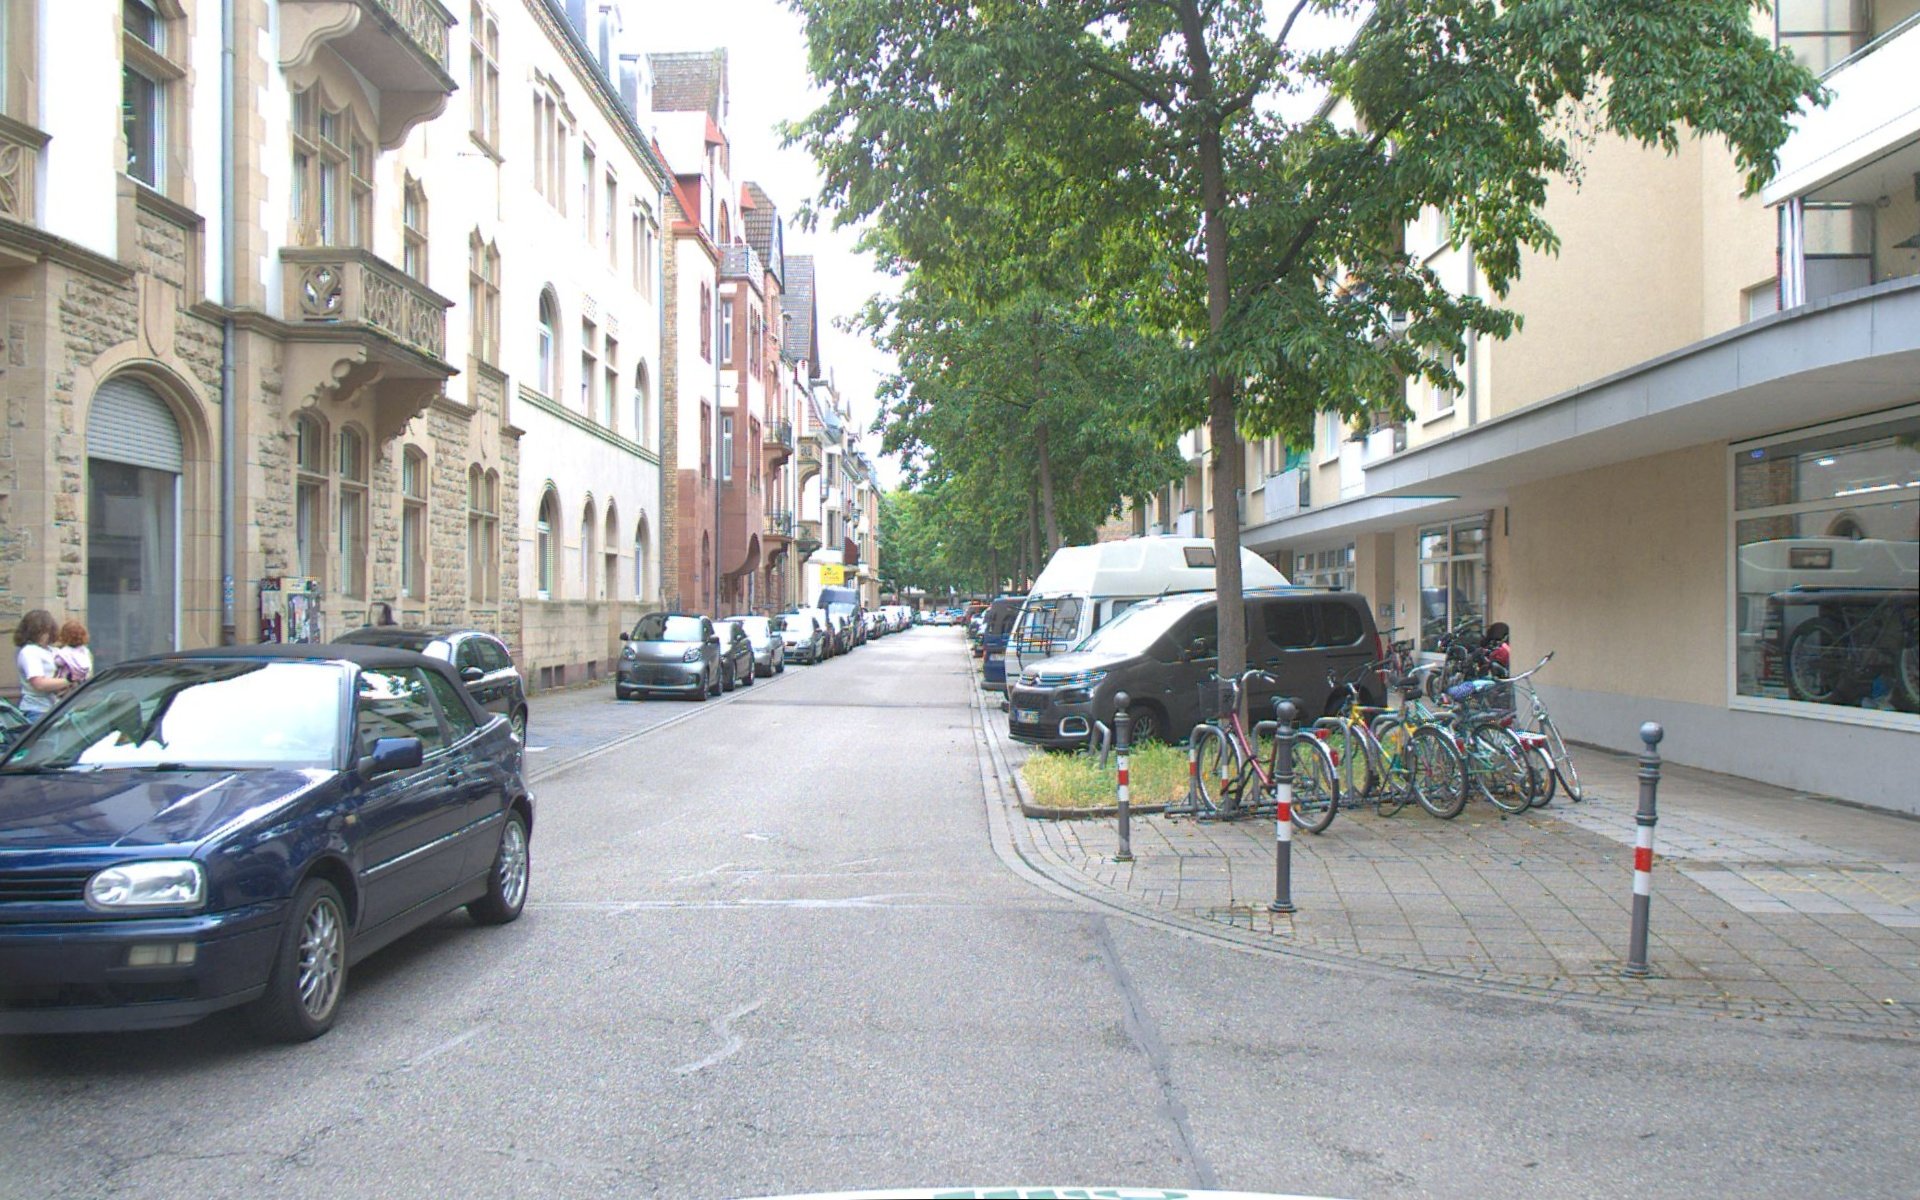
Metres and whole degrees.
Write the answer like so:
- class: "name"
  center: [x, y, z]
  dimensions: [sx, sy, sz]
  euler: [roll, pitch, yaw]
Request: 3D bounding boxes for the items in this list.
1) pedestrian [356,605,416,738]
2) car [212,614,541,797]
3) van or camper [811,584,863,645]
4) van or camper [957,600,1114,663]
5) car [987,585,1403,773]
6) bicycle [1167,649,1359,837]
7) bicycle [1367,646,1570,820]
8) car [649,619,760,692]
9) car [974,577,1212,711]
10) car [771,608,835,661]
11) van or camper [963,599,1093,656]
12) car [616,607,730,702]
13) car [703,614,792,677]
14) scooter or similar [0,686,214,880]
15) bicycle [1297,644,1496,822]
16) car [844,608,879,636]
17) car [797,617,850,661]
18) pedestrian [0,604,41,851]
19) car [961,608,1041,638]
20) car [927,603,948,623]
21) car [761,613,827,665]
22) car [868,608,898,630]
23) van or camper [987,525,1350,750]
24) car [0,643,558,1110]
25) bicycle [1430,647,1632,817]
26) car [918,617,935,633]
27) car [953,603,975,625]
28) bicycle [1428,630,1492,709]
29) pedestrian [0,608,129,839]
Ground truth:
- class: "pedestrian"
  center: [-6.765, 0.836, 19.510]
  dimensions: [0.505, 1.545, 0.546]
  euler: [0, 0, 0]
- class: "car"
  center: [-5.487, 0.945, 16.123]
  dimensions: [1.674, 1.521, 4.000]
  euler: [1, -1, 1]
- class: "van or camper"
  center: [-5.661, 0.640, 76.781]
  dimensions: [1.967, 2.698, 5.316]
  euler: [0, 0, 0]
- class: "van or camper"
  center: [2.593, 1.054, 56.437]
  dimensions: [4.949, 1.902, 2.107]
  euler: [-2, 0, -28]
- class: "car"
  center: [2.627, 0.796, 18.446]
  dimensions: [4.277, 1.886, 1.896]
  euler: [0, 0, -26]
- class: "bicycle"
  center: [2.143, 0.979, 11.918]
  dimensions: [0.540, 1.194, 1.717]
  euler: [0, 0, -21]
- class: "bicycle"
  center: [3.864, 0.975, 12.709]
  dimensions: [0.540, 1.194, 1.717]
  euler: [0, 0, -21]
- class: "car"
  center: [-5.304, 1.140, 34.756]
  dimensions: [1.691, 1.411, 3.928]
  euler: [1, -1, 0]
- class: "car"
  center: [2.473, 0.741, 30.018]
  dimensions: [2.032, 2.235, 4.369]
  euler: [-1, 0, 44]
- class: "car"
  center: [-5.290, 1.138, 56.329]
  dimensions: [1.750, 1.675, 4.361]
  euler: [1, 0, 0]
- class: "van or camper"
  center: [2.683, 1.085, 65.219]
  dimensions: [4.671, 2.029, 1.983]
  euler: [-2, -2, -26]
- class: "car"
  center: [-5.317, 0.976, 30.926]
  dimensions: [1.613, 1.598, 2.956]
  euler: [1, 1, -1]
- class: "car"
  center: [-5.299, 1.109, 41.692]
  dimensions: [1.691, 1.411, 4.136]
  euler: [1, 0, 0]
- class: "scooter or similar"
  center: [-5.770, 1.174, 10.852]
  dimensions: [1.438, 1.123, 0.676]
  euler: [2, 0, 11]
- class: "bicycle"
  center: [3.256, 0.958, 12.498]
  dimensions: [0.540, 1.194, 1.717]
  euler: [0, 0, -21]
- class: "car"
  center: [-5.518, 1.204, 92.871]
  dimensions: [1.753, 1.506, 4.021]
  euler: [1, 0, -1]
- class: "car"
  center: [-5.050, 1.426, 61.642]
  dimensions: [1.601, 1.499, 4.000]
  euler: [1, 0, 0]
- class: "pedestrian"
  center: [-6.772, 0.862, 11.302]
  dimensions: [0.603, 1.672, 0.604]
  euler: [0, 0, 12]
- class: "car"
  center: [2.214, 1.245, 89.576]
  dimensions: [3.970, 1.587, 1.865]
  euler: [0, 0, -31]
- class: "car"
  center: [-2.193, 1.313, 161.265]
  dimensions: [1.952, 1.825, 4.000]
  euler: [1, -1, 1]
- class: "car"
  center: [-5.020, 1.164, 50.410]
  dimensions: [1.628, 1.445, 3.928]
  euler: [1, 0, 0]
- class: "car"
  center: [-5.405, 1.320, 116.288]
  dimensions: [1.953, 1.501, 4.000]
  euler: [0, 0, 0]
- class: "van or camper"
  center: [2.745, 0.439, 21.441]
  dimensions: [4.539, 2.641, 1.889]
  euler: [0, 0, -33]
- class: "car"
  center: [-3.076, 0.923, 7.121]
  dimensions: [1.673, 1.438, 3.852]
  euler: [-1, -1, 1]
- class: "bicycle"
  center: [4.450, 0.996, 13.017]
  dimensions: [0.540, 1.194, 1.686]
  euler: [0, 0, -21]
- class: "car"
  center: [-3.634, 2.719, 181.037]
  dimensions: [1.784, 1.674, 3.753]
  euler: [1, -1, 0]
- class: "car"
  center: [0.399, 1.320, 160.019]
  dimensions: [1.953, 2.049, 3.999]
  euler: [3, 0, -1]
- class: "bicycle"
  center: [7.449, 1.022, 24.688]
  dimensions: [0.474, 1.109, 1.701]
  euler: [0, 0, 2]
- class: "pedestrian"
  center: [-6.568, 0.875, 12.118]
  dimensions: [0.620, 1.621, 0.666]
  euler: [0, 0, 41]
